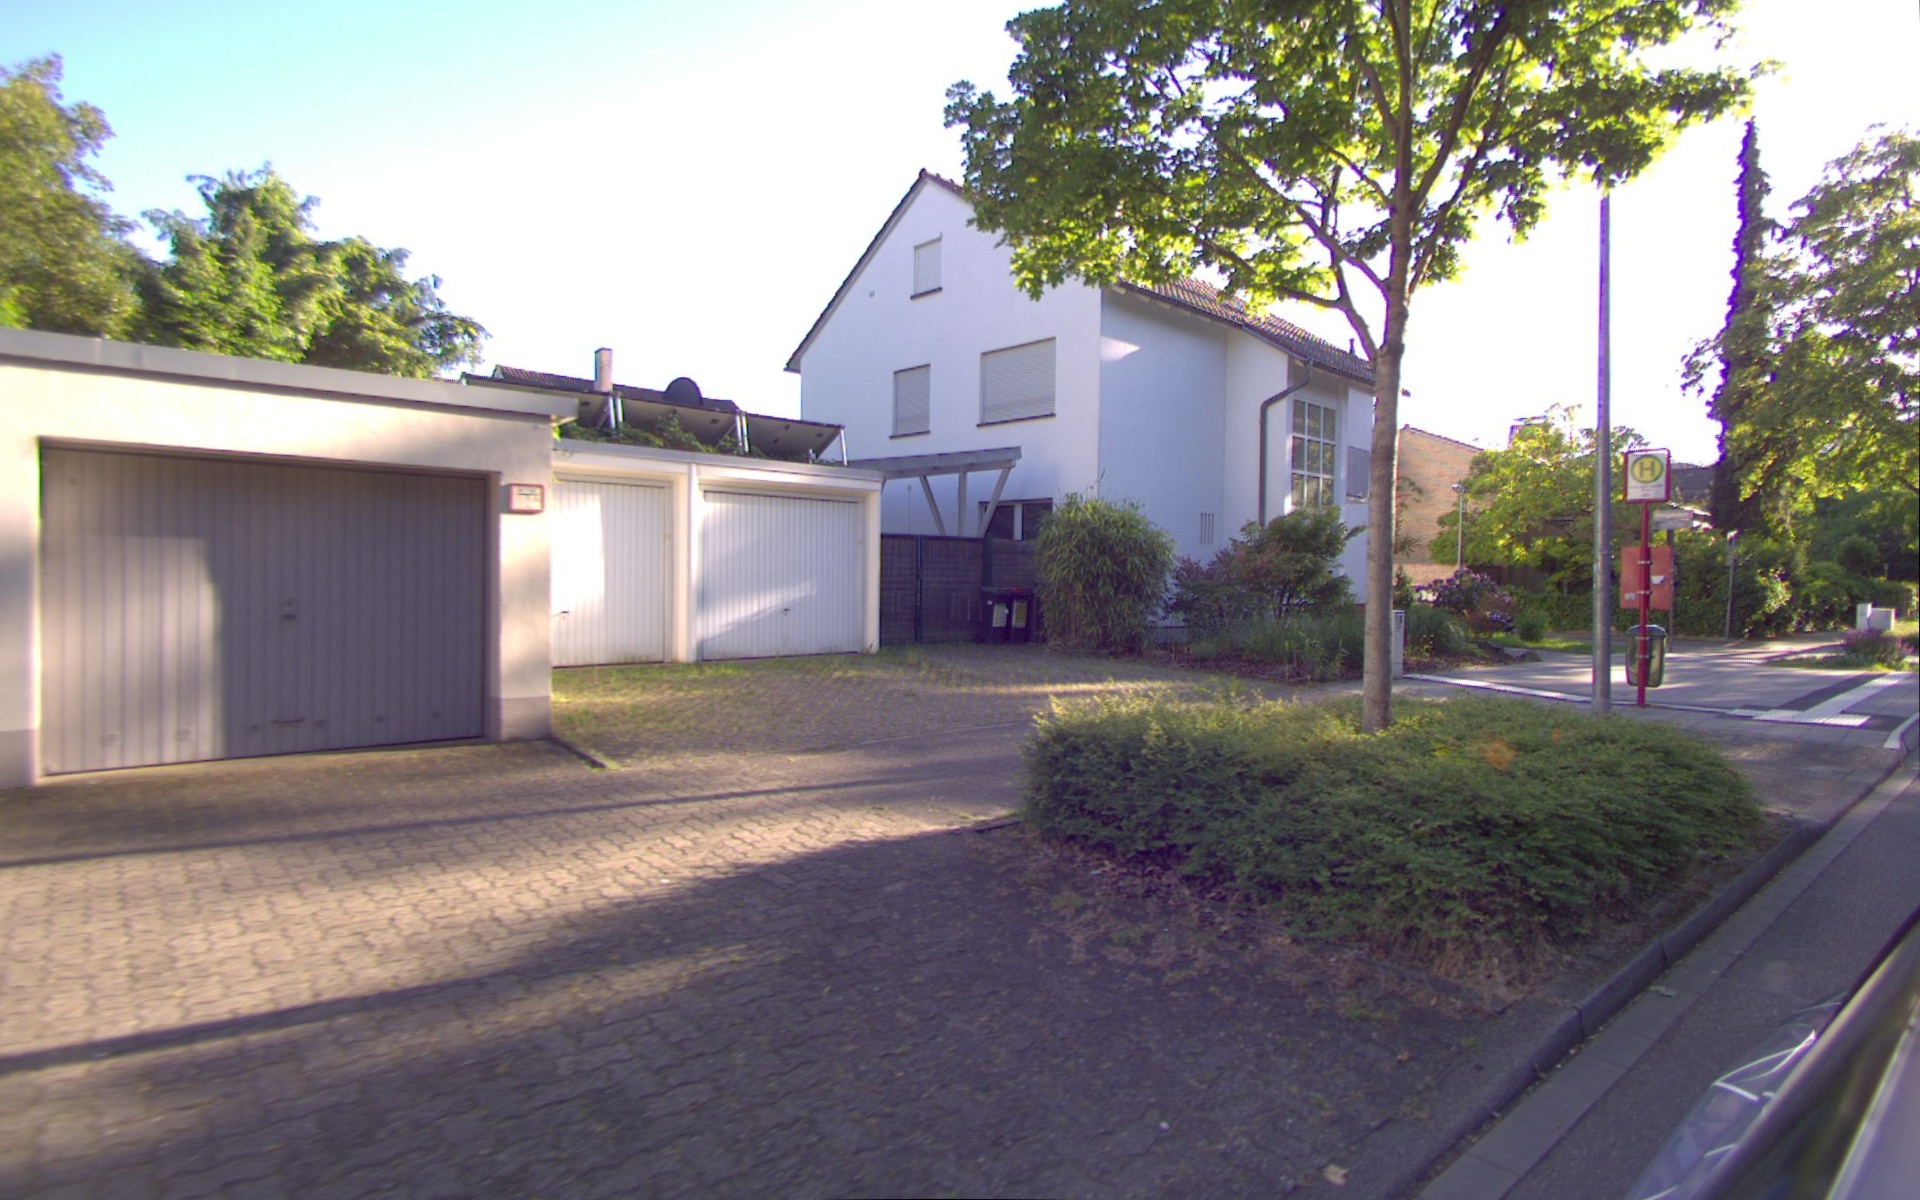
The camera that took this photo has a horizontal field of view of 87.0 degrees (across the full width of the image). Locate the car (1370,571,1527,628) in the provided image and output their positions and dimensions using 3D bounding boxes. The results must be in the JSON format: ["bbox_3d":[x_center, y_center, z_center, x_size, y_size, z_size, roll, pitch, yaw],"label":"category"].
[{"bbox_3d":[13.871,-0.052,28.851,3.732,1.520,1.664,1,1,44],"label":"car"}]
